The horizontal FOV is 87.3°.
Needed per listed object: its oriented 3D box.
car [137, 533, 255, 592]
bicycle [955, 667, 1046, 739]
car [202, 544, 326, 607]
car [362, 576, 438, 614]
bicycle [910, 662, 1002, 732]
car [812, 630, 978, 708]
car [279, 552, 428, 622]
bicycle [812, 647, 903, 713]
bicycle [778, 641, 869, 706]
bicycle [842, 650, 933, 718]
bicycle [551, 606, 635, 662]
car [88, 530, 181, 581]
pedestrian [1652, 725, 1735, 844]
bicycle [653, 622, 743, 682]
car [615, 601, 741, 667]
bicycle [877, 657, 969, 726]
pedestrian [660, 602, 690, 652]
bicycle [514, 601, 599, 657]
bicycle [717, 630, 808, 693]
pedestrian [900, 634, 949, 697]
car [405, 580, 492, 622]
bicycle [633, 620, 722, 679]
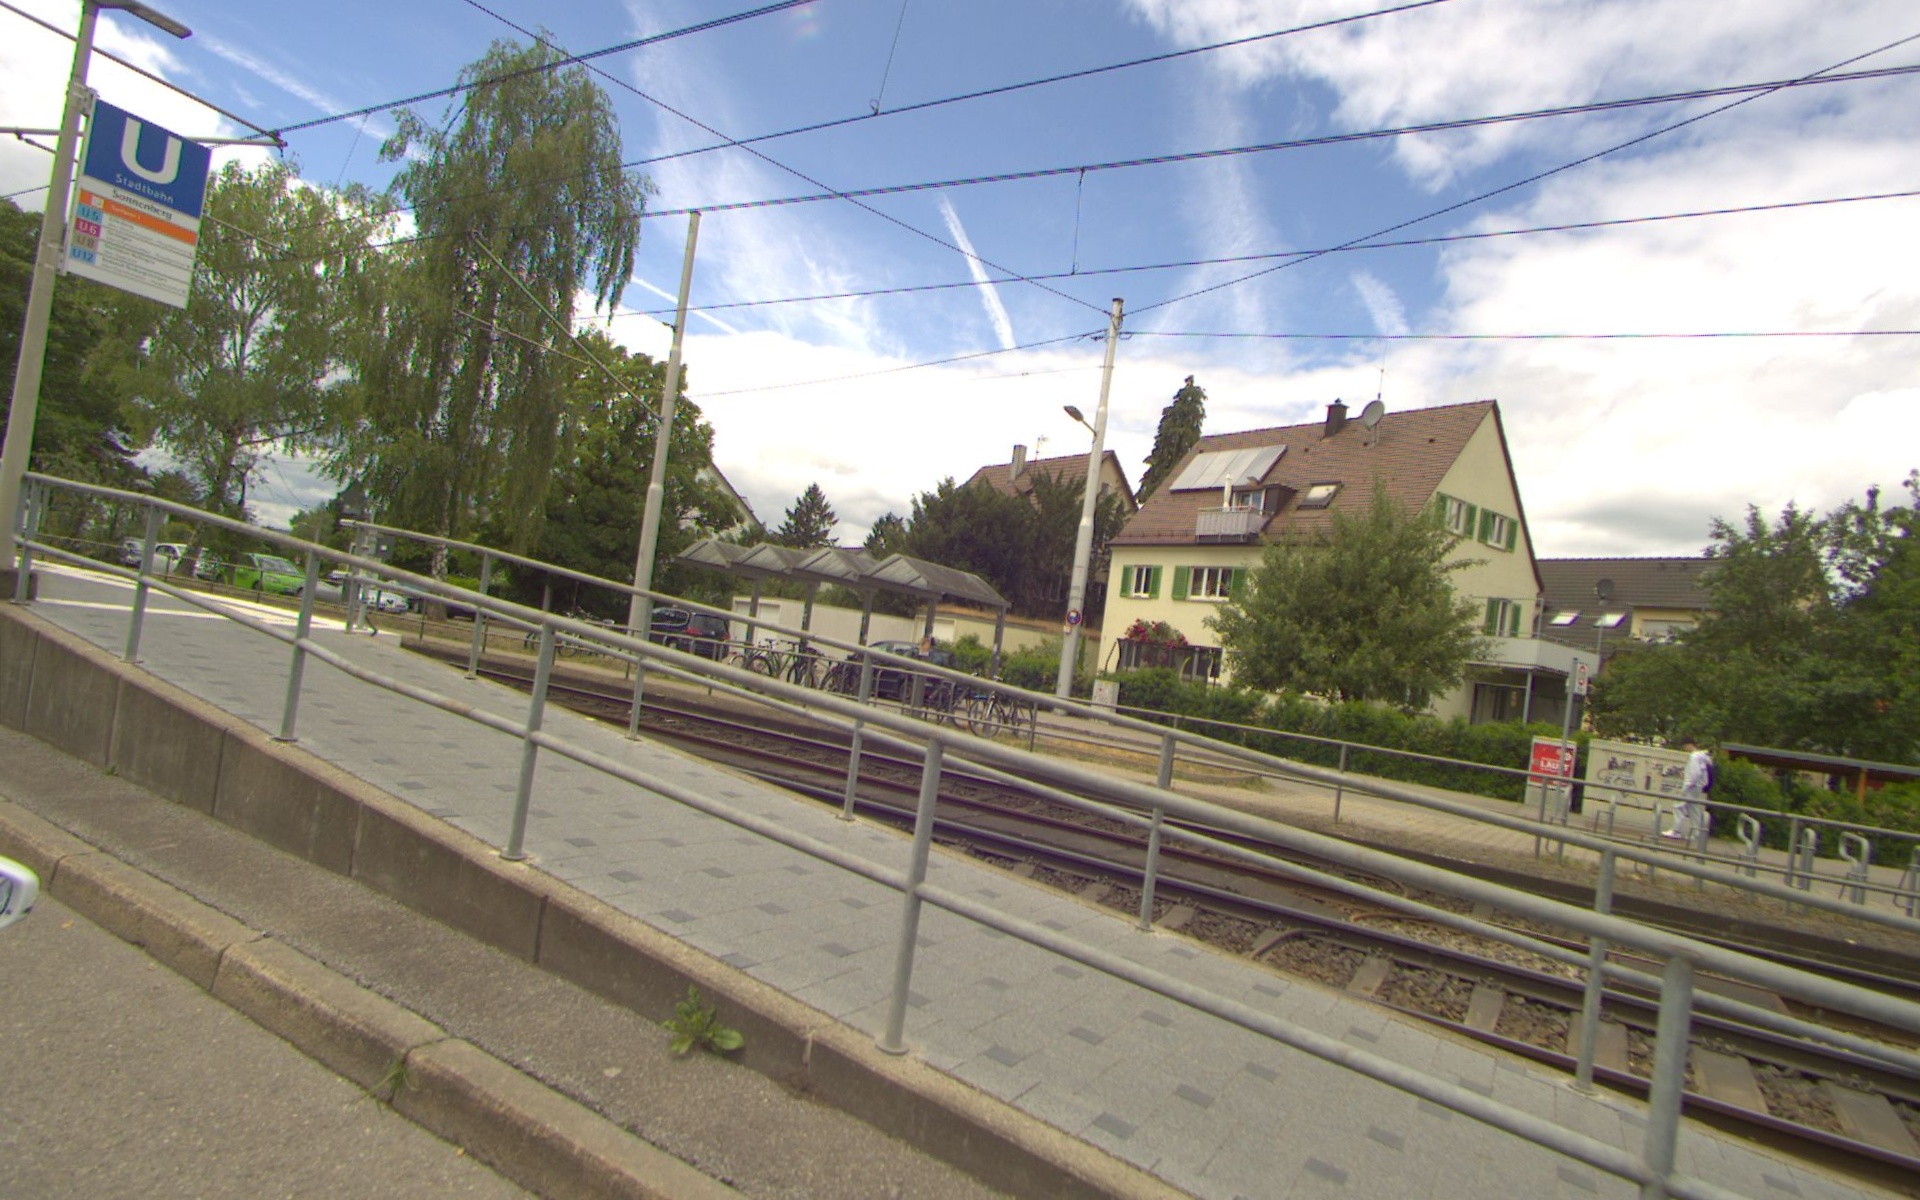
[{"bbox_3d":[-27.755,-1.373,36.541,4.029,1.591,1.762,6,-3,28],"label":"car"},{"bbox_3d":[0.689,1.713,16.576,0.548,1.053,1.768,6,-3,34],"label":"bicycle"},{"bbox_3d":[-23.721,-0.833,34.287,3.931,1.591,1.735,6,-3,28],"label":"car"},{"bbox_3d":[-28.043,-0.264,50.330,4.632,1.505,1.755,4,-3,41],"label":"car"},{"bbox_3d":[-0.042,1.663,17.081,0.548,1.053,1.768,6,-3,34],"label":"bicycle"},{"bbox_3d":[-1.832,1.860,27.434,4.359,1.502,1.815,6,-3,40],"label":"car"},{"bbox_3d":[-19.186,-0.401,31.815,4.187,1.591,2.070,6,-3,28],"label":"car"},{"bbox_3d":[-1.847,1.486,18.420,0.548,1.053,1.768,6,-3,34],"label":"bicycle"},{"bbox_3d":[-2.551,1.411,18.955,0.548,1.053,1.768,6,-3,34],"label":"bicycle"},{"bbox_3d":[-1.268,1.520,18.024,0.548,1.053,1.768,6,-3,34],"label":"bicycle"},{"bbox_3d":[-8.123,0.778,22.337,0.547,1.053,1.772,7,-3,25],"label":"bicycle"},{"bbox_3d":[-32.227,-1.763,39.241,4.436,1.505,1.841,6,-3,39],"label":"car"},{"bbox_3d":[13.176,3.287,18.093,0.815,1.937,0.626,8,-1,10],"label":"pedestrian"},{"bbox_3d":[-5.376,1.091,20.756,0.548,1.053,1.768,6,-3,34],"label":"bicycle"},{"bbox_3d":[-9.699,1.118,34.352,4.776,1.654,1.813,5,-3,44],"label":"car"},{"bbox_3d":[-0.622,1.610,17.483,0.548,1.053,1.768,6,-3,34],"label":"bicycle"},{"bbox_3d":[-10.895,1.031,38.489,0.817,1.791,0.681,8,-2,-22],"label":"pedestrian"},{"bbox_3d":[-8.941,0.660,22.366,0.547,1.053,1.772,7,-3,24],"label":"bicycle"},{"bbox_3d":[-3.856,1.230,19.790,0.548,1.053,1.768,6,-3,34],"label":"bicycle"},{"bbox_3d":[-1.037,1.912,29.389,0.932,1.705,0.810,6,-2,28],"label":"pedestrian"},{"bbox_3d":[-23.685,0.035,46.533,4.861,1.505,1.755,4,-3,41],"label":"car"},{"bbox_3d":[-5.911,1.052,21.145,0.548,1.053,1.768,6,-3,34],"label":"bicycle"}]
